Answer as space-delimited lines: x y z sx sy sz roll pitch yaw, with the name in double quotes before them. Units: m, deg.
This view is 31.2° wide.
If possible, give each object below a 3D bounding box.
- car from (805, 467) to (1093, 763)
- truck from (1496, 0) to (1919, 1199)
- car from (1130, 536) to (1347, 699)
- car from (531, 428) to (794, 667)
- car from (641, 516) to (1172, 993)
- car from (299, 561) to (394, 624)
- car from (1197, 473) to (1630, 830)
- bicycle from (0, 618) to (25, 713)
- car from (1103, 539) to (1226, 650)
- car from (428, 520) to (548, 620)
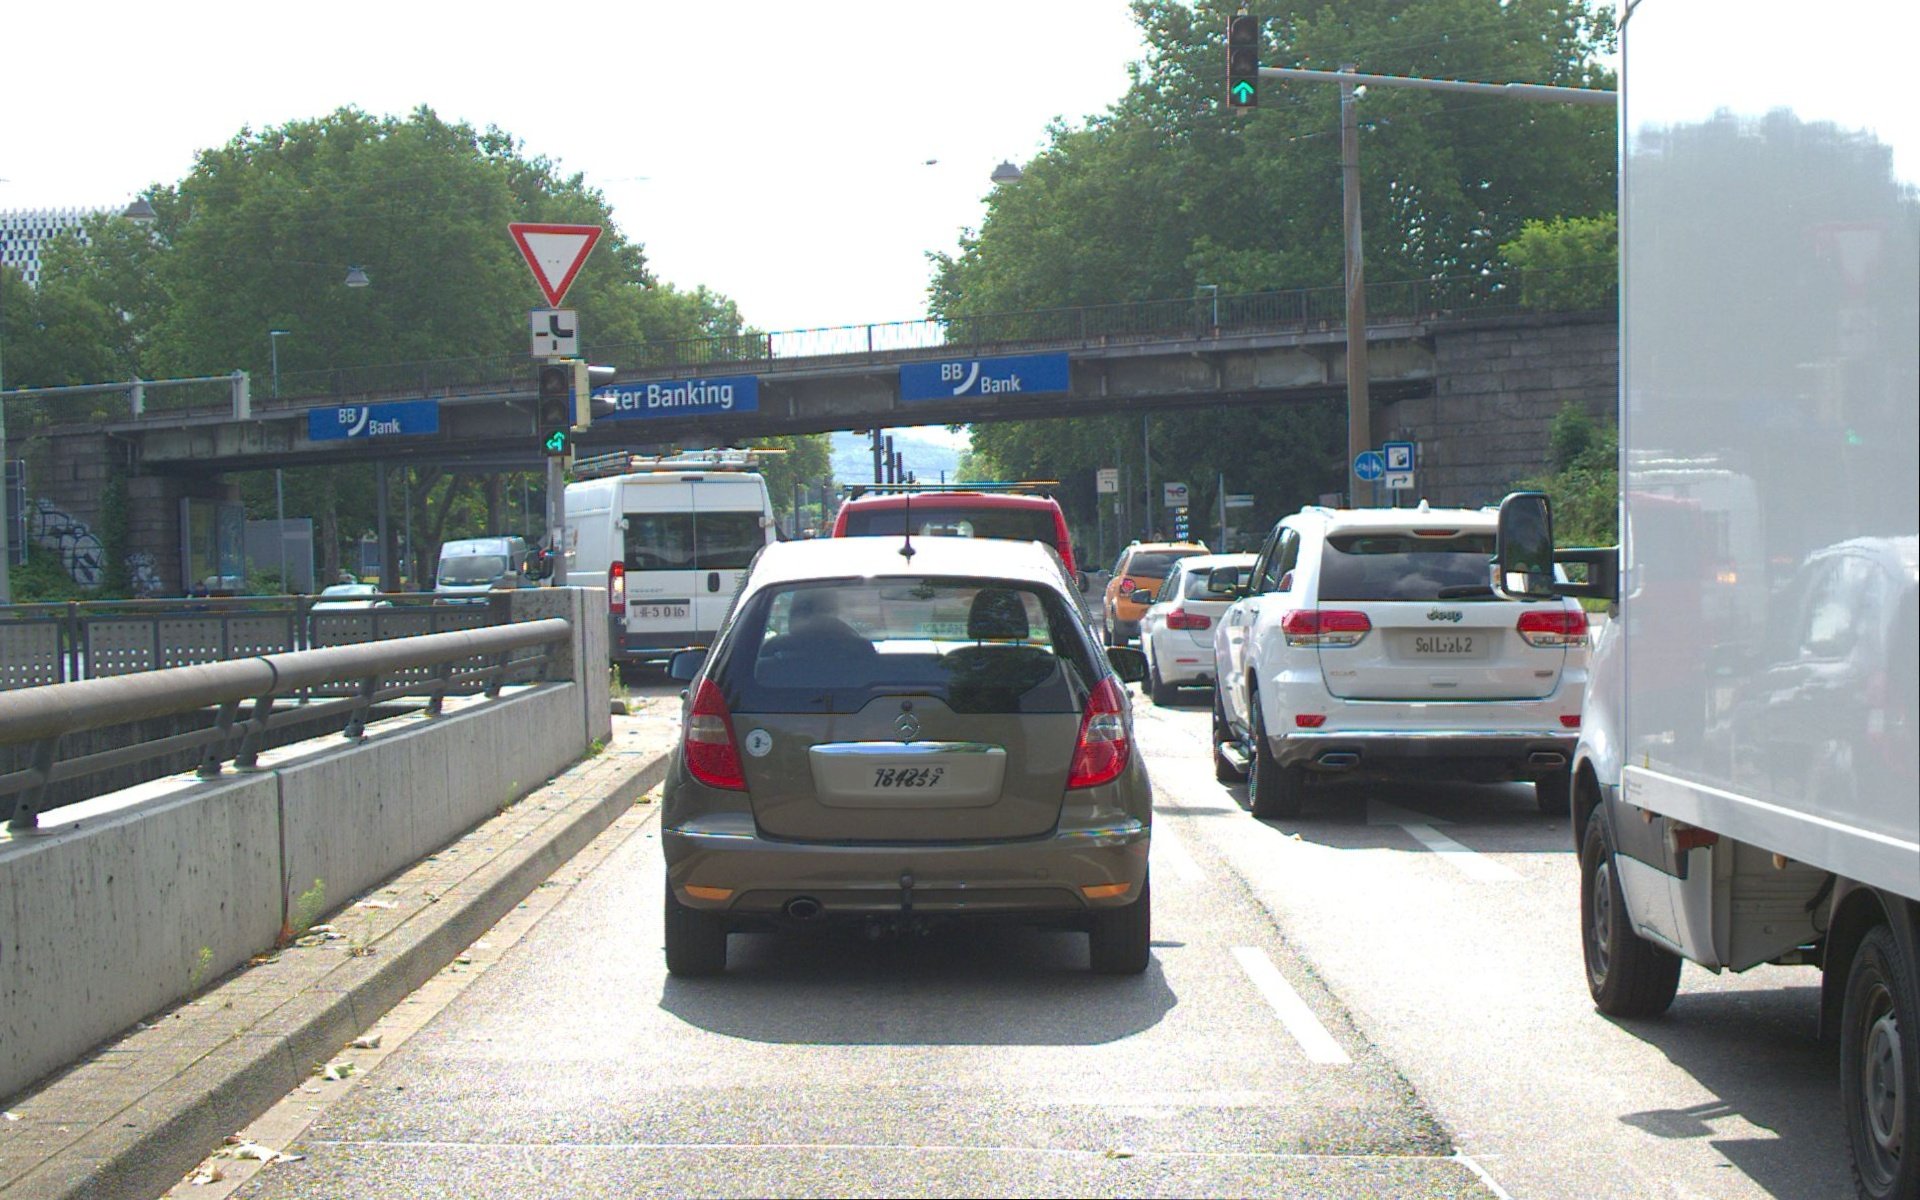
"car" -0.073 0.055 25.680 1.955 2.010 4.677 0 1 0
"truck" 2.984 -0.168 8.764 2.447 3.110 6.028 0 0 2
"car" 2.692 0.171 33.899 1.852 1.516 3.617 0 0 0
"car" -3.682 -0.586 41.690 2.197 2.717 4.933 0 0 -17
"car" -0.178 0.477 13.525 1.792 1.603 3.799 0 2 0
"car" -15.843 -0.201 88.926 1.702 1.471 4.000 -4 0 -1
"car" 2.565 0.211 20.544 1.995 1.895 4.509 0 2 0
"bicycle" -9.364 0.582 30.475 1.972 0.823 0.612 -1 0 4
"car" 2.878 -0.061 48.856 1.544 1.516 3.617 0 0 0
"car" -12.528 -0.802 91.557 2.258 2.518 5.626 -1 0 1
